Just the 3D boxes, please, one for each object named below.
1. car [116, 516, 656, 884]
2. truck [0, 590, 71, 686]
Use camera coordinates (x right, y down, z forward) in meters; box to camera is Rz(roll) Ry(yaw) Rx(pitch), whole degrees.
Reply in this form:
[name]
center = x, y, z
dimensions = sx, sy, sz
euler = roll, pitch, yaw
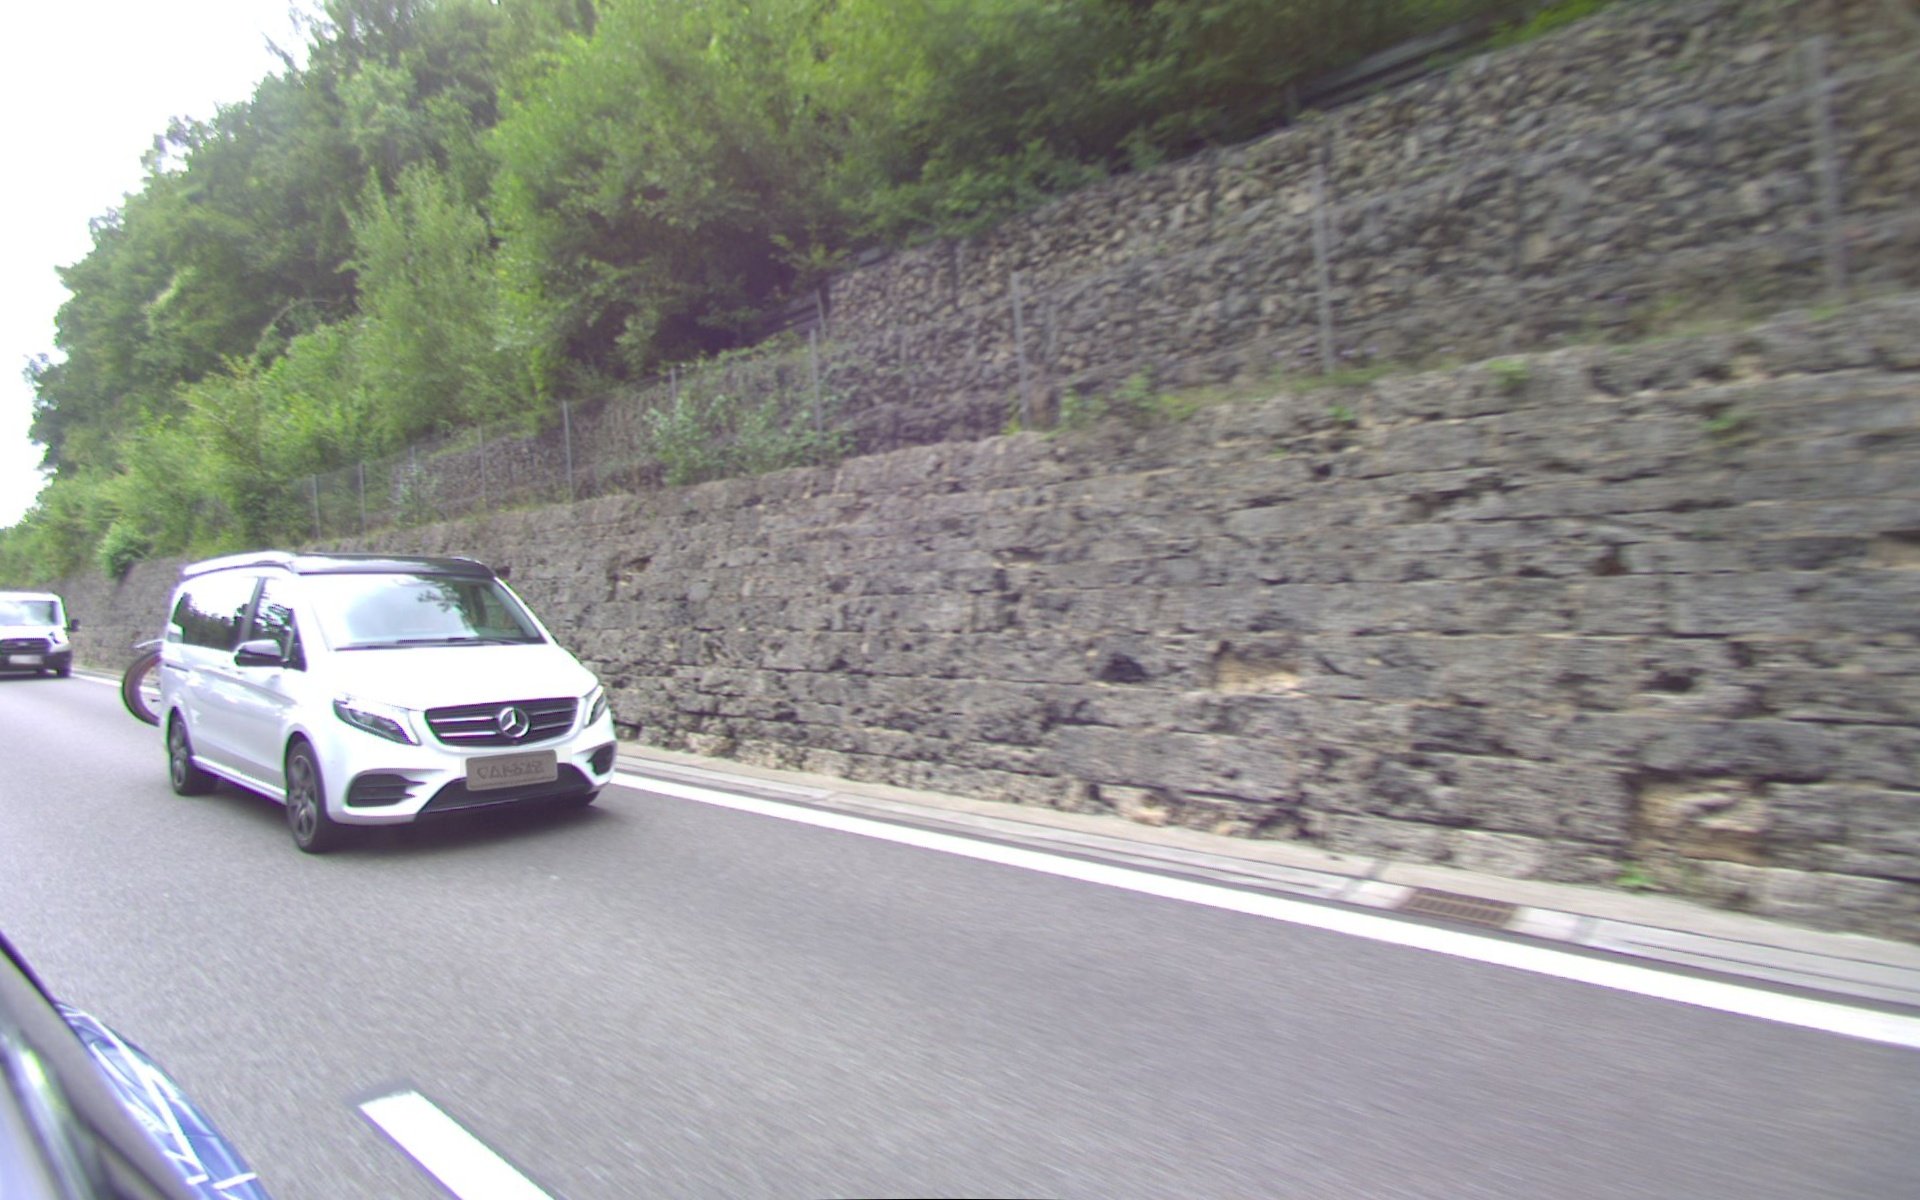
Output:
[car]
center = -5.018, 0.578, 8.217
dimensions = 6.146, 1.967, 1.972
euler = -1, 0, 42
[truck]
center = -25.448, 0.978, 26.799
dimensions = 6.582, 2.297, 1.973
euler = -1, 0, 41
